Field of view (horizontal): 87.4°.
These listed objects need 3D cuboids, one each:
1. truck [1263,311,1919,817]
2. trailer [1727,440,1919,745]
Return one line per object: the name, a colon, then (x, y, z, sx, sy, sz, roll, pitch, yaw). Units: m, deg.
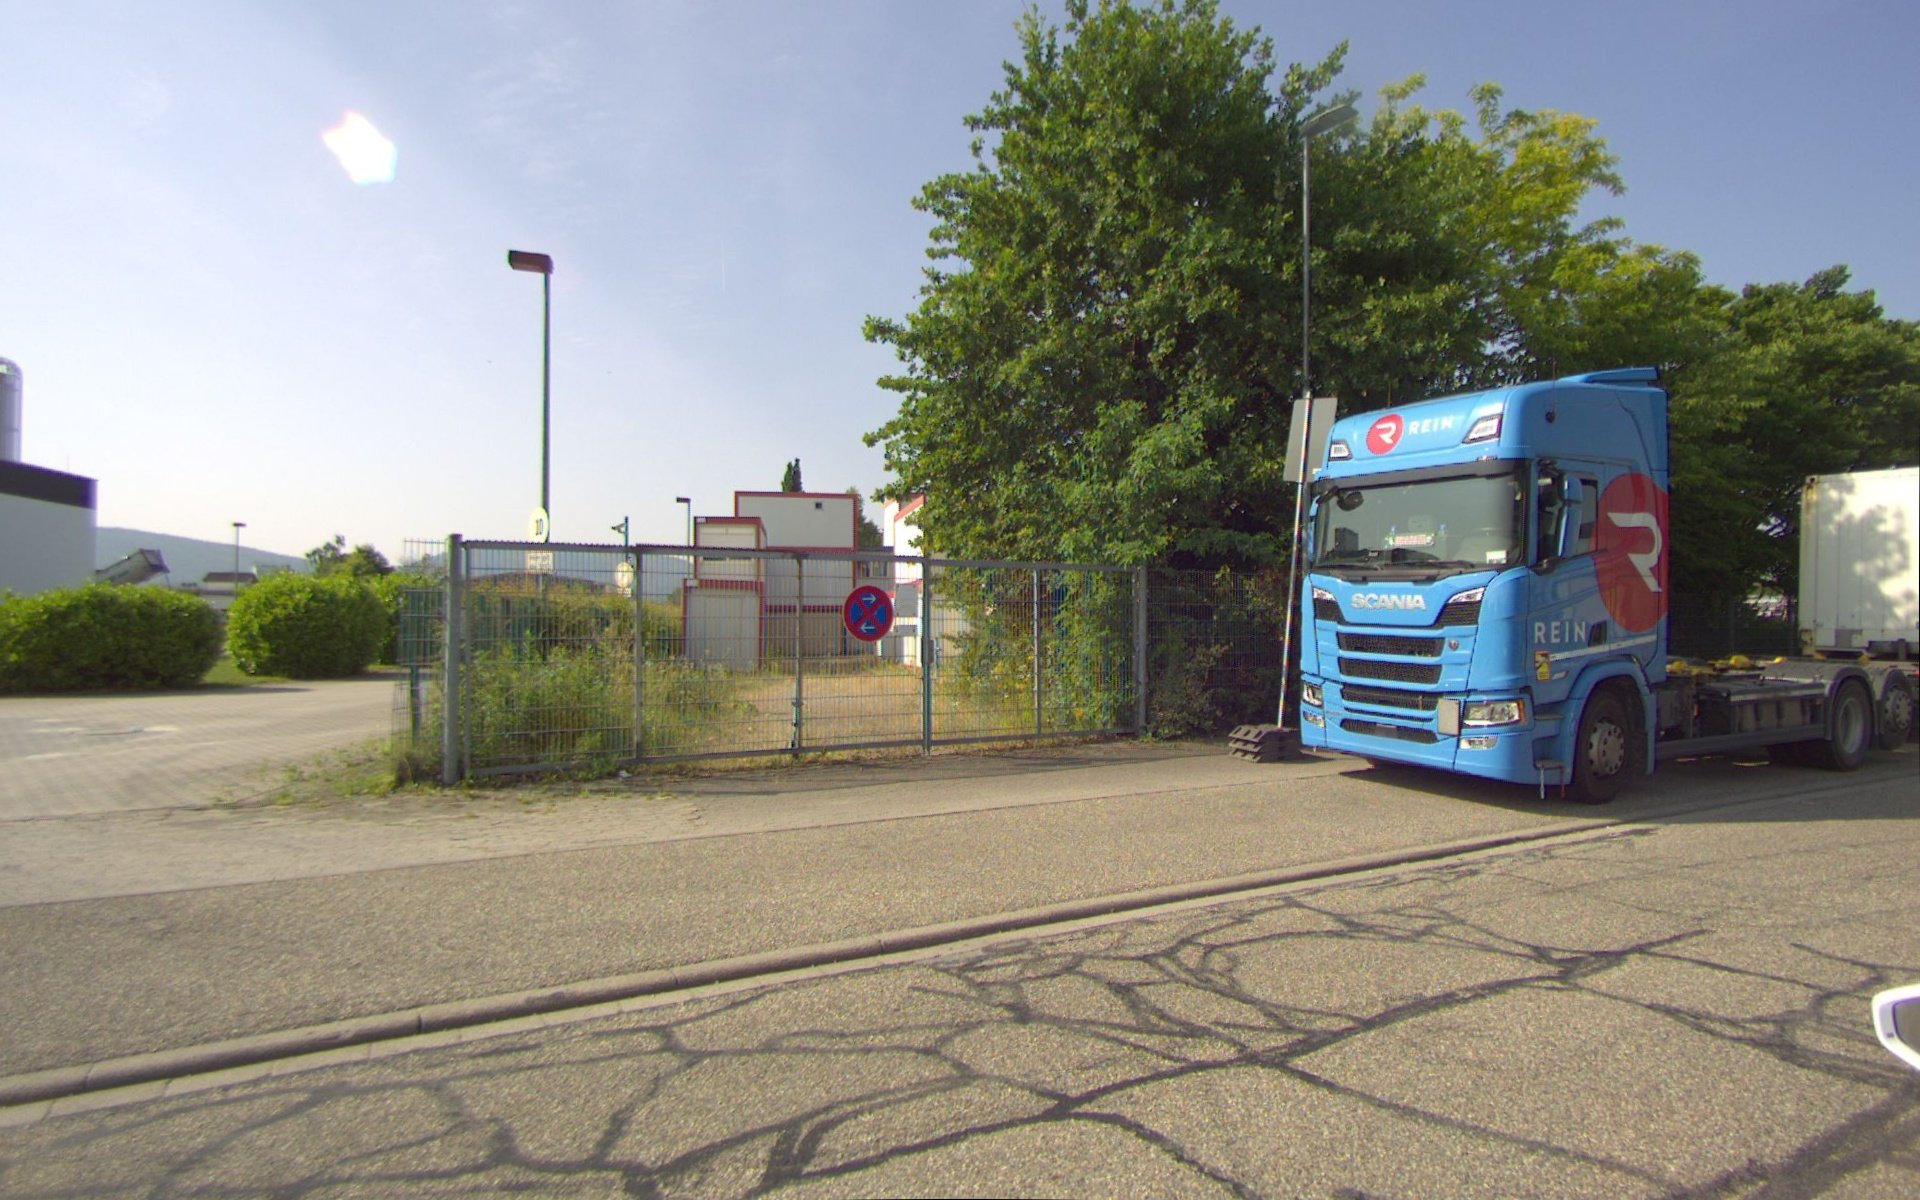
truck: (7.886, -0.193, 11.342, 9.519, 3.936, 2.701, 1, 0, -29)
trailer: (16.182, -0.014, 16.093, 9.649, 3.936, 2.687, 1, 0, -30)
